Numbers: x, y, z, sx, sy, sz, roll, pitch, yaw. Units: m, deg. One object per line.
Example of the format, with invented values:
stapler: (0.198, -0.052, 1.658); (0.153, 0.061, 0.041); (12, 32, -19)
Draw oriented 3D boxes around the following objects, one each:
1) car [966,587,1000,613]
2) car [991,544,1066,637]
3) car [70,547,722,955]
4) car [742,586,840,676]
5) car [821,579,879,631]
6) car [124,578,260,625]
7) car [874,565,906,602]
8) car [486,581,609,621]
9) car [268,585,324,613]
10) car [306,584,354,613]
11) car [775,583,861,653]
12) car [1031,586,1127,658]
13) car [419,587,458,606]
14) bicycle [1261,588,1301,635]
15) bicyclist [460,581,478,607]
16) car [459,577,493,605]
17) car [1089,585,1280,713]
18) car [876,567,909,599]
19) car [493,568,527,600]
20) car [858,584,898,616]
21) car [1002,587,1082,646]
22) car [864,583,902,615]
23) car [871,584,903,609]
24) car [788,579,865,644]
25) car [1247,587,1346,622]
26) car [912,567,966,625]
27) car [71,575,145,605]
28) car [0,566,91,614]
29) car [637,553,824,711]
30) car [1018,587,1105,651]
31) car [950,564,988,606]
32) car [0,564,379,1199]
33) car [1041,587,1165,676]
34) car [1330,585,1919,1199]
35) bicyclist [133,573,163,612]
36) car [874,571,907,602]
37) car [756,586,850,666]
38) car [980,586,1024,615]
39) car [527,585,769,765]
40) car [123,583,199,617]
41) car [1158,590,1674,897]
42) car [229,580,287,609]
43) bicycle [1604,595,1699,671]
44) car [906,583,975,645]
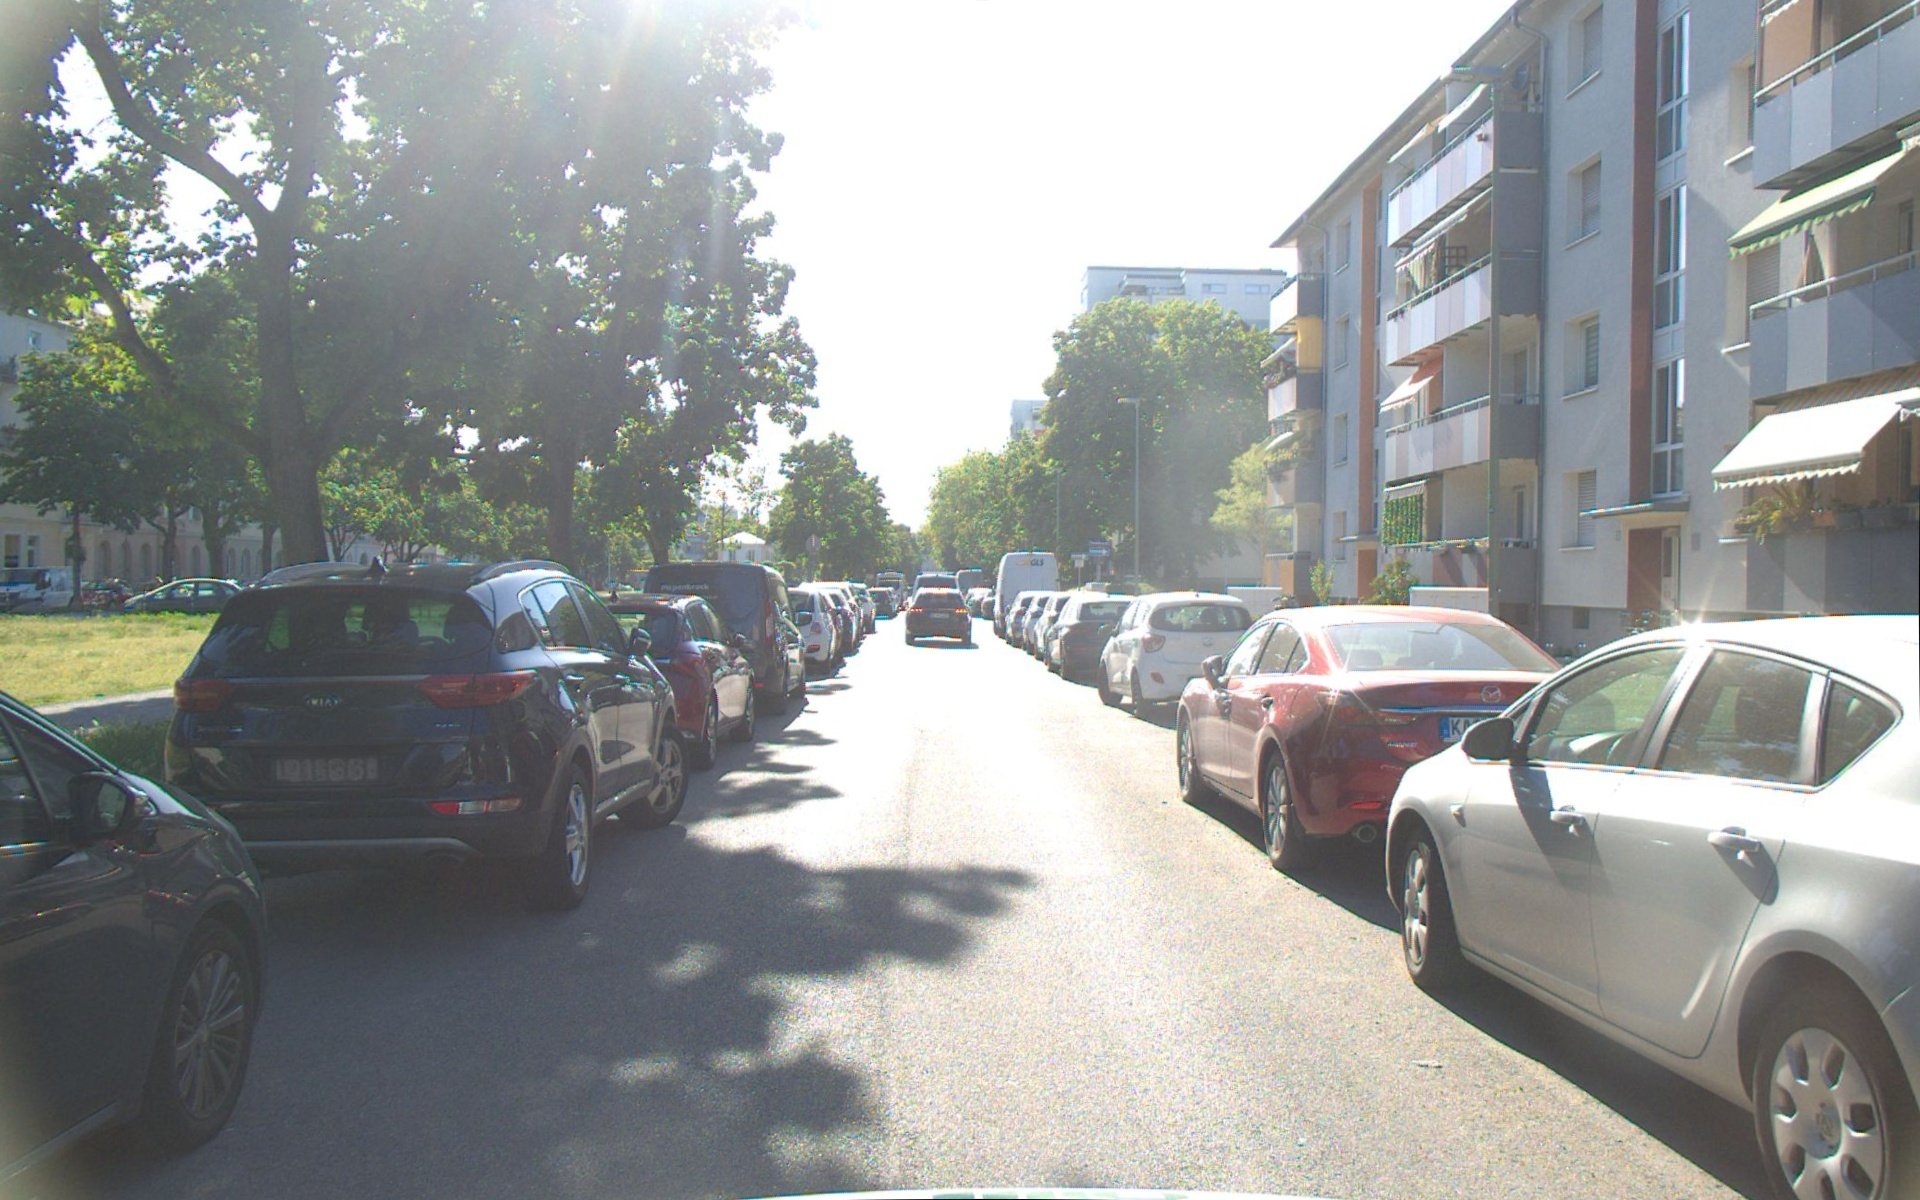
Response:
car: (1.238, -0.015, 89.480); (1.743, 1.395, 4.126); (0, 1, 0)
car: (2.160, -0.326, 53.726); (2.099, 2.760, 6.841); (-1, 1, 0)
car: (-2.671, 0.600, 9.221); (1.984, 1.654, 4.757); (-1, 1, 0)
car: (-3.053, 0.517, 30.377); (1.555, 1.518, 3.683); (-1, 1, -3)
car: (-3.793, 0.145, 57.612); (1.720, 1.676, 4.287); (-1, 1, 0)
car: (-26.929, 0.032, 58.069); (4.280, 1.604, 1.913); (0, 1, -26)
car: (-4.916, -1.136, 116.766); (2.055, 2.540, 4.126); (0, 0, 0)
car: (-15.790, 0.040, 63.263); (4.280, 1.433, 1.905); (0, 2, -26)
car: (-39.058, -0.058, 97.341); (1.721, 1.576, 4.525); (0, 0, -4)
car: (-39.171, -0.106, 102.892); (1.599, 1.716, 4.078); (0, 0, -4)
car: (-3.371, 0.382, 39.984); (1.836, 1.546, 4.468); (-2, 1, -2)
car: (2.507, 0.427, 35.704); (1.686, 1.460, 4.152); (0, 1, -1)
car: (-40.017, -0.291, 126.945); (1.809, 1.465, 3.773); (0, 1, -1)
bicycle: (8.316, 0.312, 42.878); (0.584, 1.197, 2.013); (1, -1, -2)
bicyclist: (-36.253, -0.424, 122.162); (0.922, 1.869, 1.449); (0, 0, -2)
car: (-40.108, -0.739, 137.224); (1.660, 2.252, 5.005); (0, 0, -4)
car: (2.835, 0.569, 21.699); (1.713, 1.525, 3.858); (0, 0, -4)
car: (-5.792, -1.441, 142.203); (2.563, 2.691, 6.114); (0, 0, 0)
car: (-40.682, -1.429, 149.661); (1.878, 2.792, 5.621); (0, 0, -4)
car: (-3.910, -0.006, 79.665); (1.712, 1.449, 3.916); (-2, 0, 0)
car: (2.220, 0.429, 45.761); (1.812, 1.491, 4.200); (1, 1, -3)
car: (-3.896, -0.060, 84.187); (1.741, 1.521, 3.874); (-2, 0, 0)
car: (-4.490, -0.227, 101.901); (1.795, 1.526, 4.126); (0, 1, 0)
car: (-3.572, 0.265, 45.009); (1.783, 1.638, 4.738); (-1, 1, -1)
car: (14.241, 0.191, 70.104); (3.811, 1.454, 1.657); (0, 1, -5)
car: (-0.726, -0.163, 60.118); (1.856, 2.026, 4.010); (-1, 1, 0)
car: (-38.309, -0.448, 74.461); (1.660, 1.301, 3.523); (0, 1, -4)
car: (-38.518, -0.421, 69.076); (2.040, 1.905, 5.095); (0, 1, -4)
car: (-2.848, 0.370, 21.565); (1.826, 1.816, 4.990); (0, 0, -1)
car: (2.470, 0.426, 41.080); (1.840, 1.501, 4.139); (0, 1, -1)
car: (0.603, -1.035, 111.007); (2.120, 2.736, 5.412); (0, 1, -4)
car: (-2.695, 0.661, 3.173); (1.842, 1.443, 3.803); (0, 0, -1)
car: (2.531, 0.522, 30.273); (1.665, 1.460, 4.469); (-1, 1, -3)
car: (2.786, 0.744, 5.379); (1.836, 1.560, 4.489); (0, 1, -5)
bicyclist: (-29.578, -0.274, 60.250); (0.867, 1.387, 0.617); (1, 3, -34)
car: (-4.619, -0.917, 110.363); (2.056, 1.976, 4.126); (0, 0, -1)
car: (-3.231, 0.483, 34.817); (1.720, 1.518, 4.666); (-1, 1, -3)
car: (2.090, -0.009, 83.545); (2.082, 1.361, 4.506); (-2, 1, 0)
car: (-2.768, 0.593, 15.488); (1.506, 1.453, 4.087); (0, 0, 0)
car: (-38.480, -0.036, 79.765); (1.660, 1.589, 4.694); (0, 1, -4)
car: (2.581, 0.702, 10.761); (1.806, 1.498, 5.063); (0, 1, -2)
car: (-38.647, -0.307, 91.173); (1.599, 1.576, 4.352); (0, 0, -4)
bicycle: (10.544, 0.479, 25.297); (0.513, 1.089, 2.009); (-2, 1, -2)
car: (-0.511, 0.340, 44.706); (1.743, 1.558, 4.000); (2, 1, 0)
